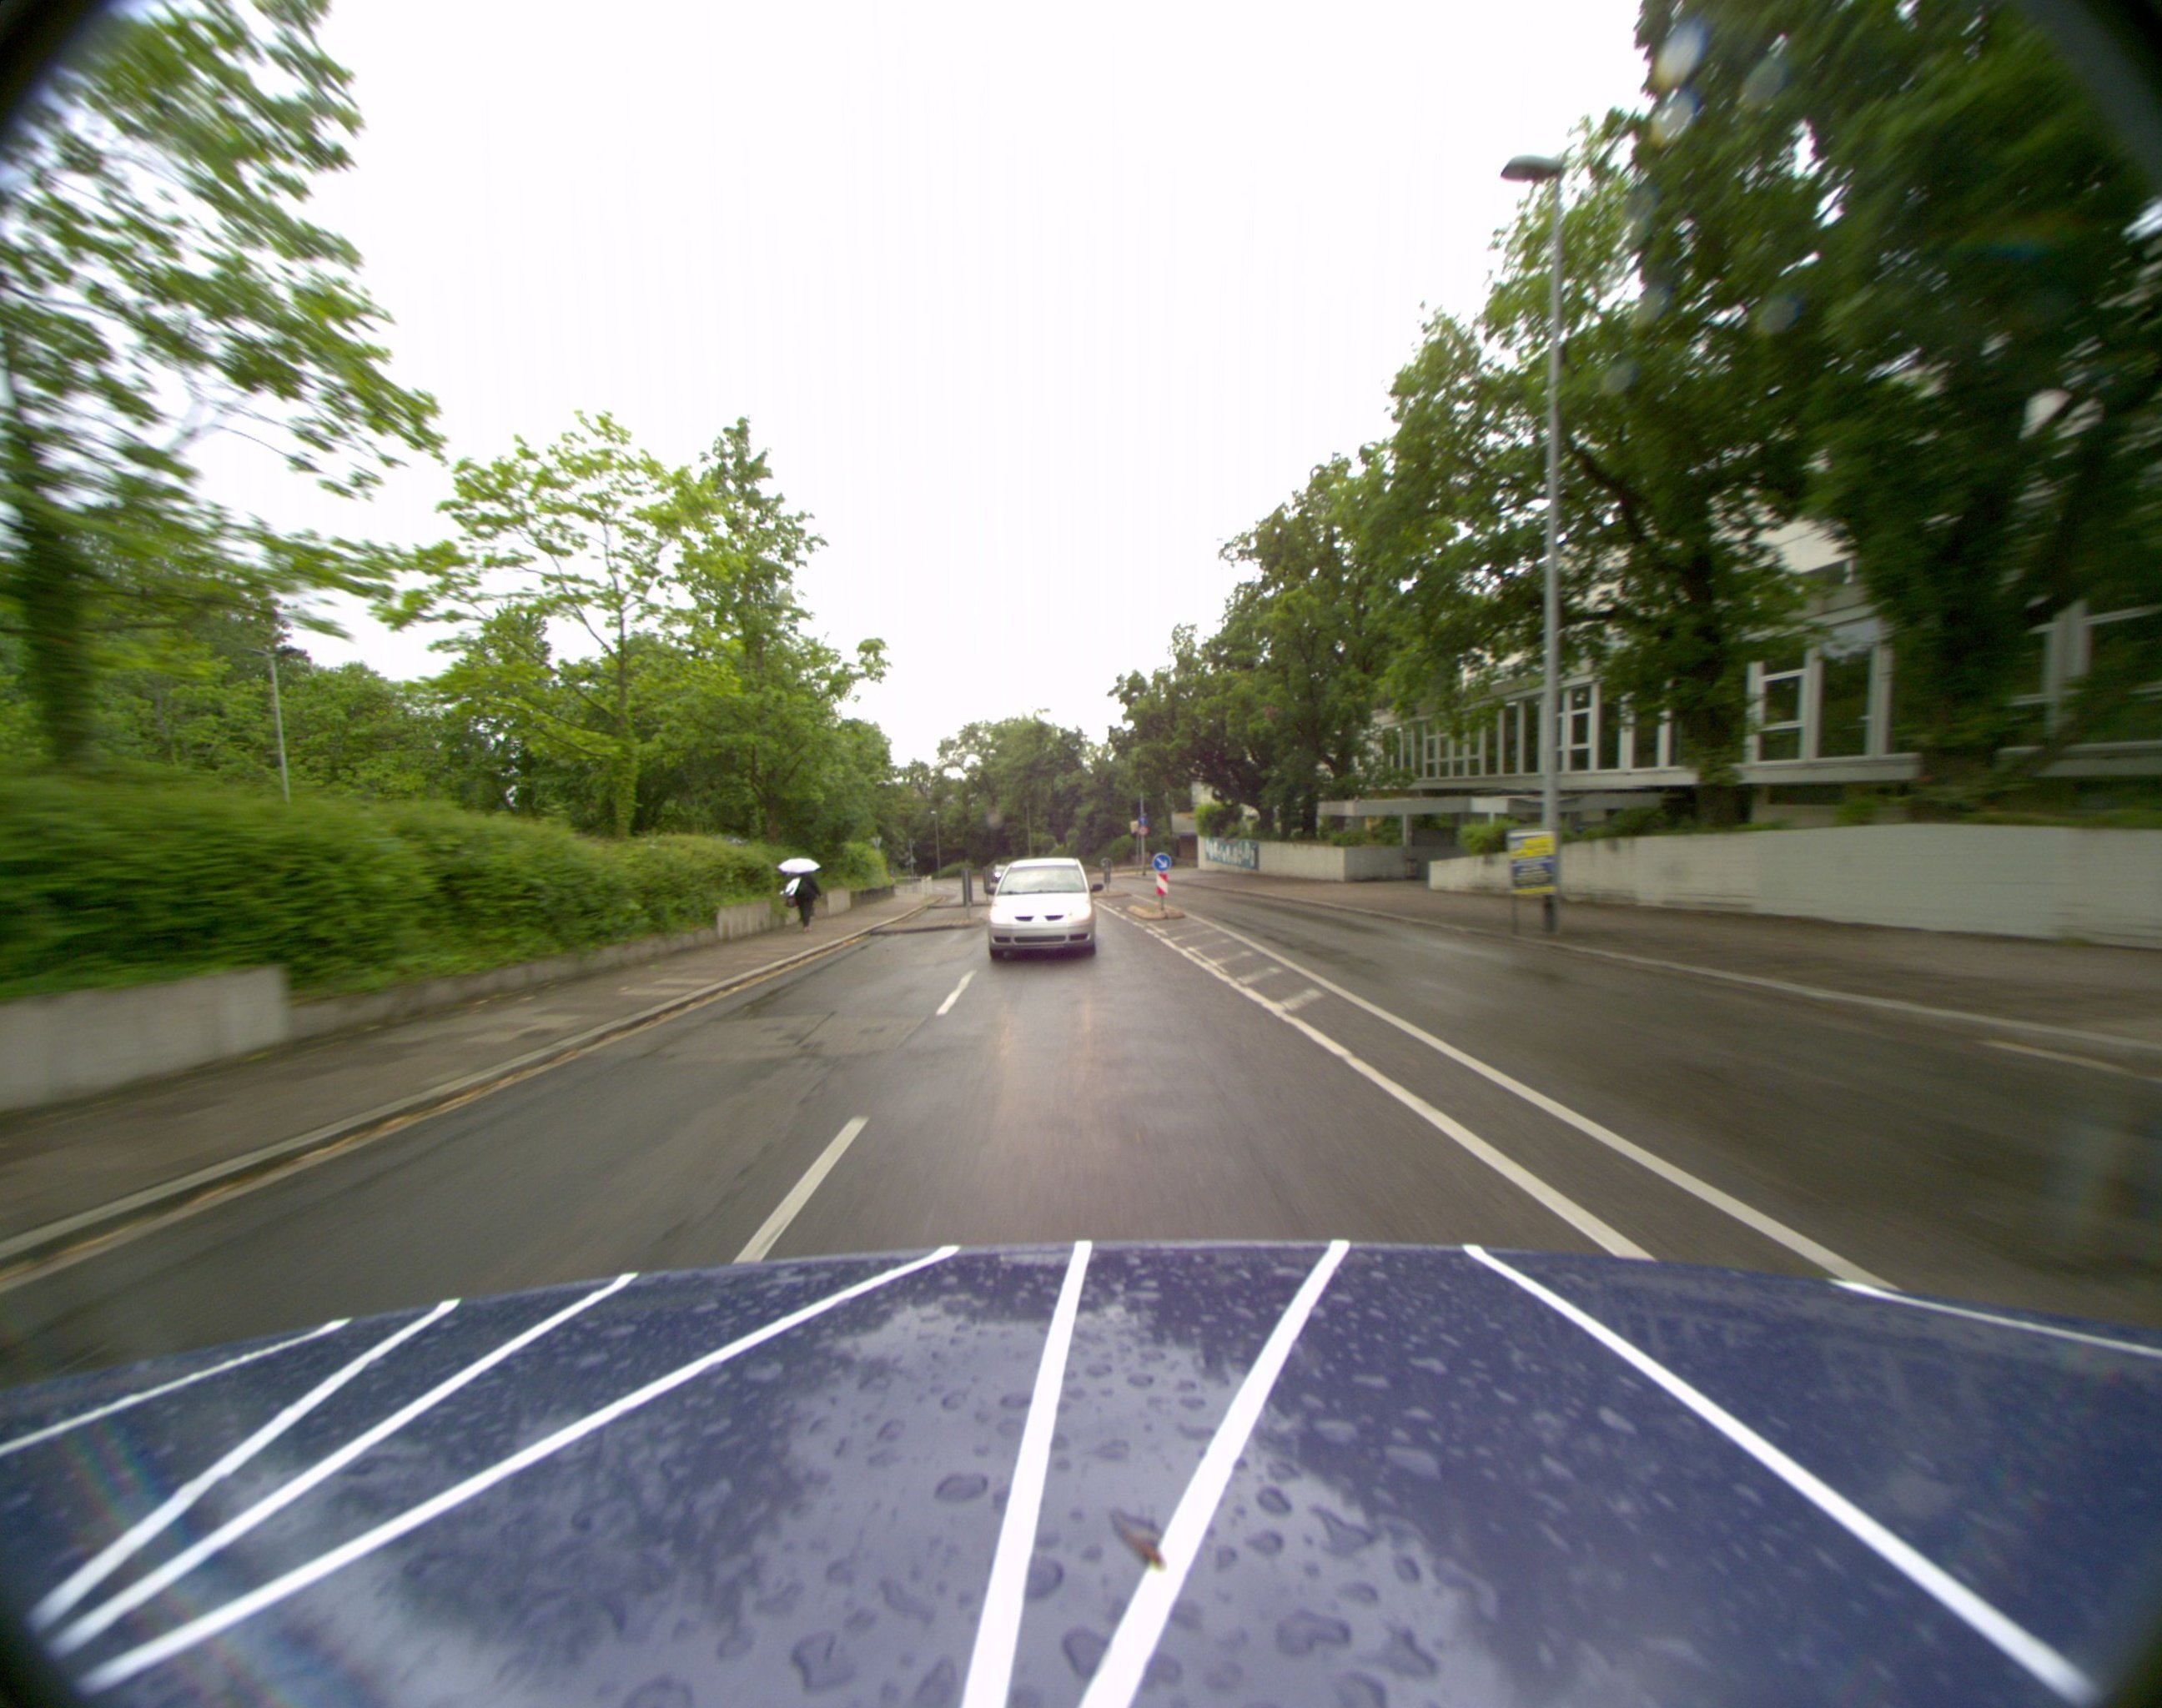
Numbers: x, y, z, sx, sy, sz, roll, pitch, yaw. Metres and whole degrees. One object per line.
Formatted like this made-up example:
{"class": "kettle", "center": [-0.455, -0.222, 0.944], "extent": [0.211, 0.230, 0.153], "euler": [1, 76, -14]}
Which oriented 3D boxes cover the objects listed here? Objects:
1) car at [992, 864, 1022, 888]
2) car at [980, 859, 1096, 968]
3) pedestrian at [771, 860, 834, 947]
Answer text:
{"class": "car", "center": [-5.983, 1.747, 61.708], "extent": [2.035, 1.691, 4.000], "euler": [-3, 0, -1]}
{"class": "car", "center": [-0.593, 0.888, 13.175], "extent": [1.640, 1.496, 4.000], "euler": [-3, 0, 1]}
{"class": "pedestrian", "center": [-6.470, 1.112, 17.713], "extent": [1.054, 1.883, 1.132], "euler": [-2, 2, -7]}
